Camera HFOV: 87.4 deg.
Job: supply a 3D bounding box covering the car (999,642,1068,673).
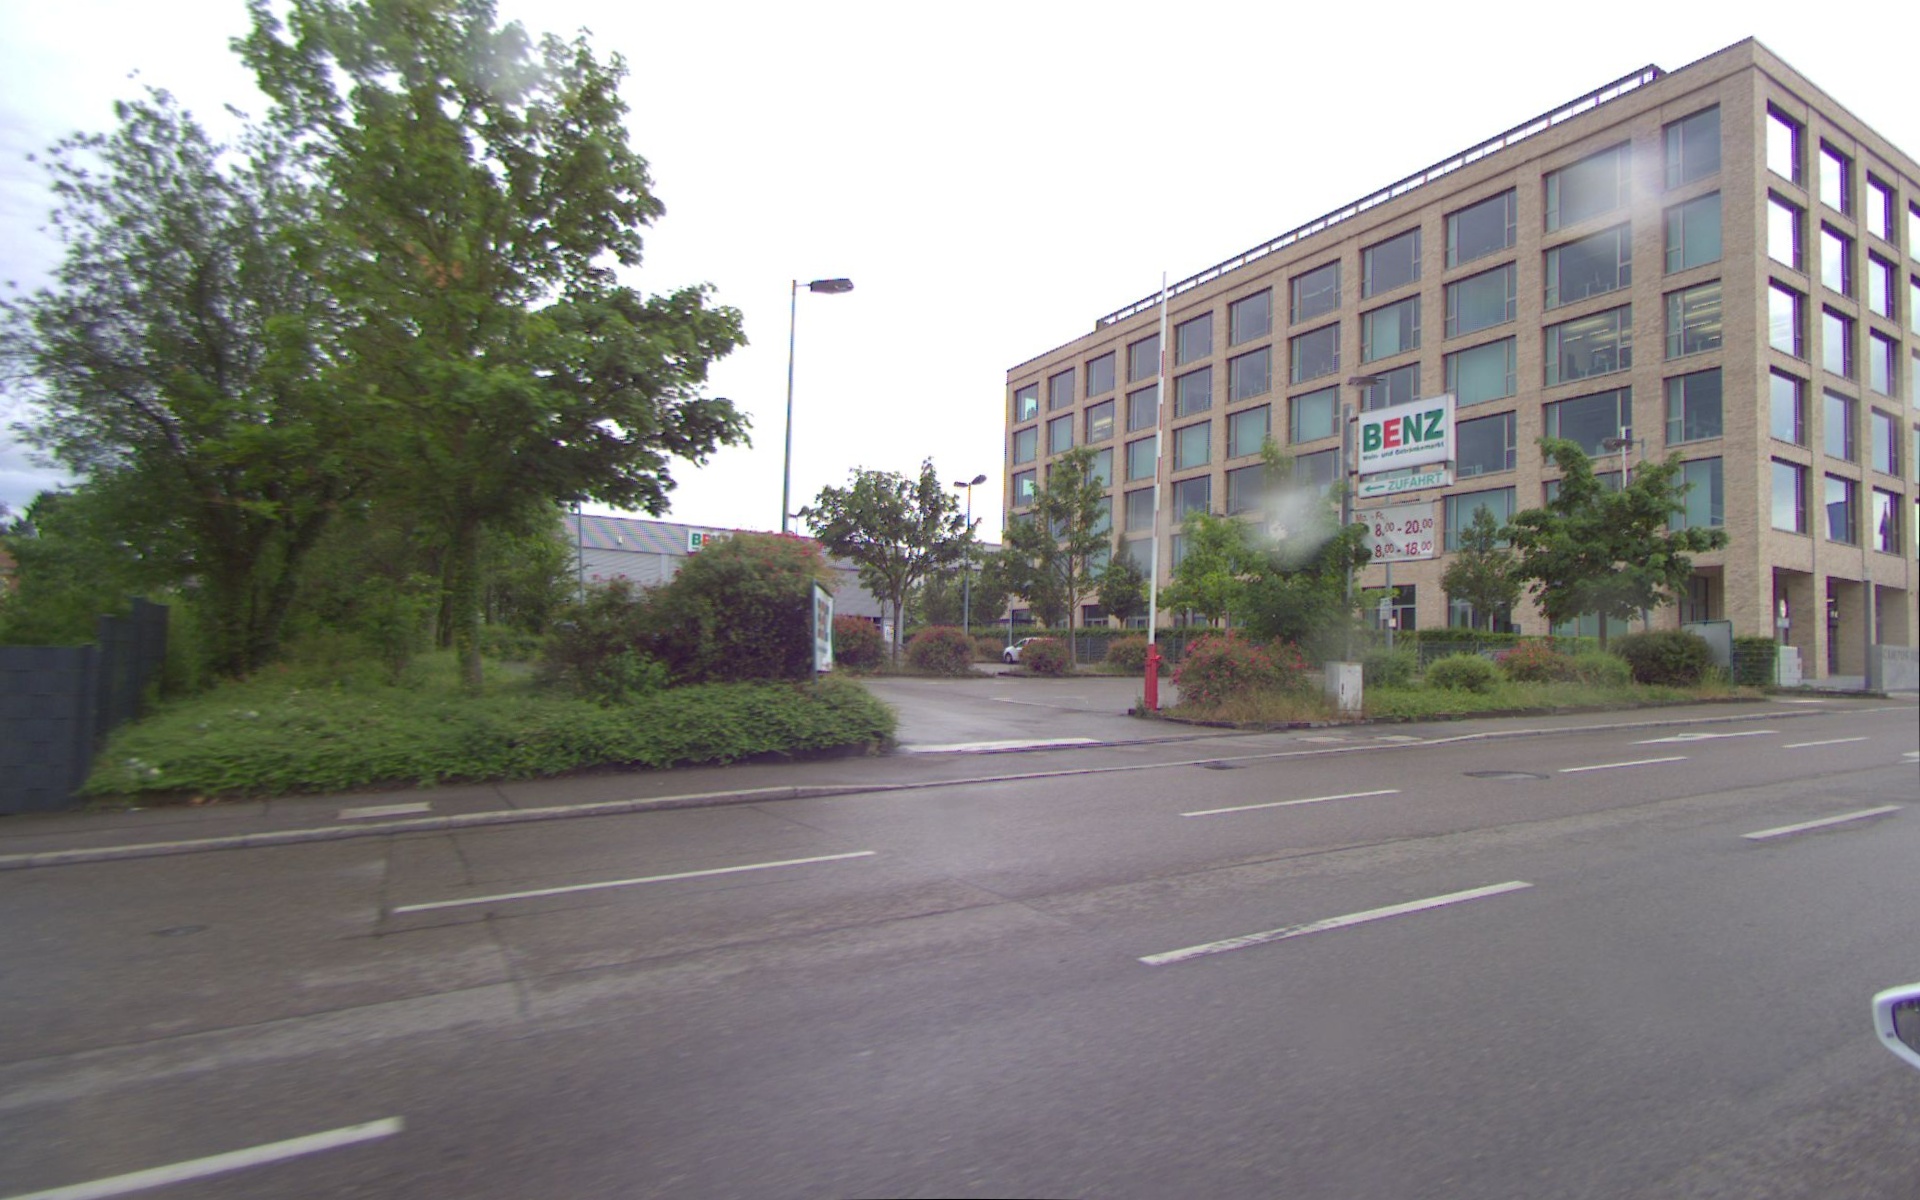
[{"bbox_3d":[4.106,3.209,56.668,1.978,1.617,3.967,2,-2,-31],"label":"car"}]
